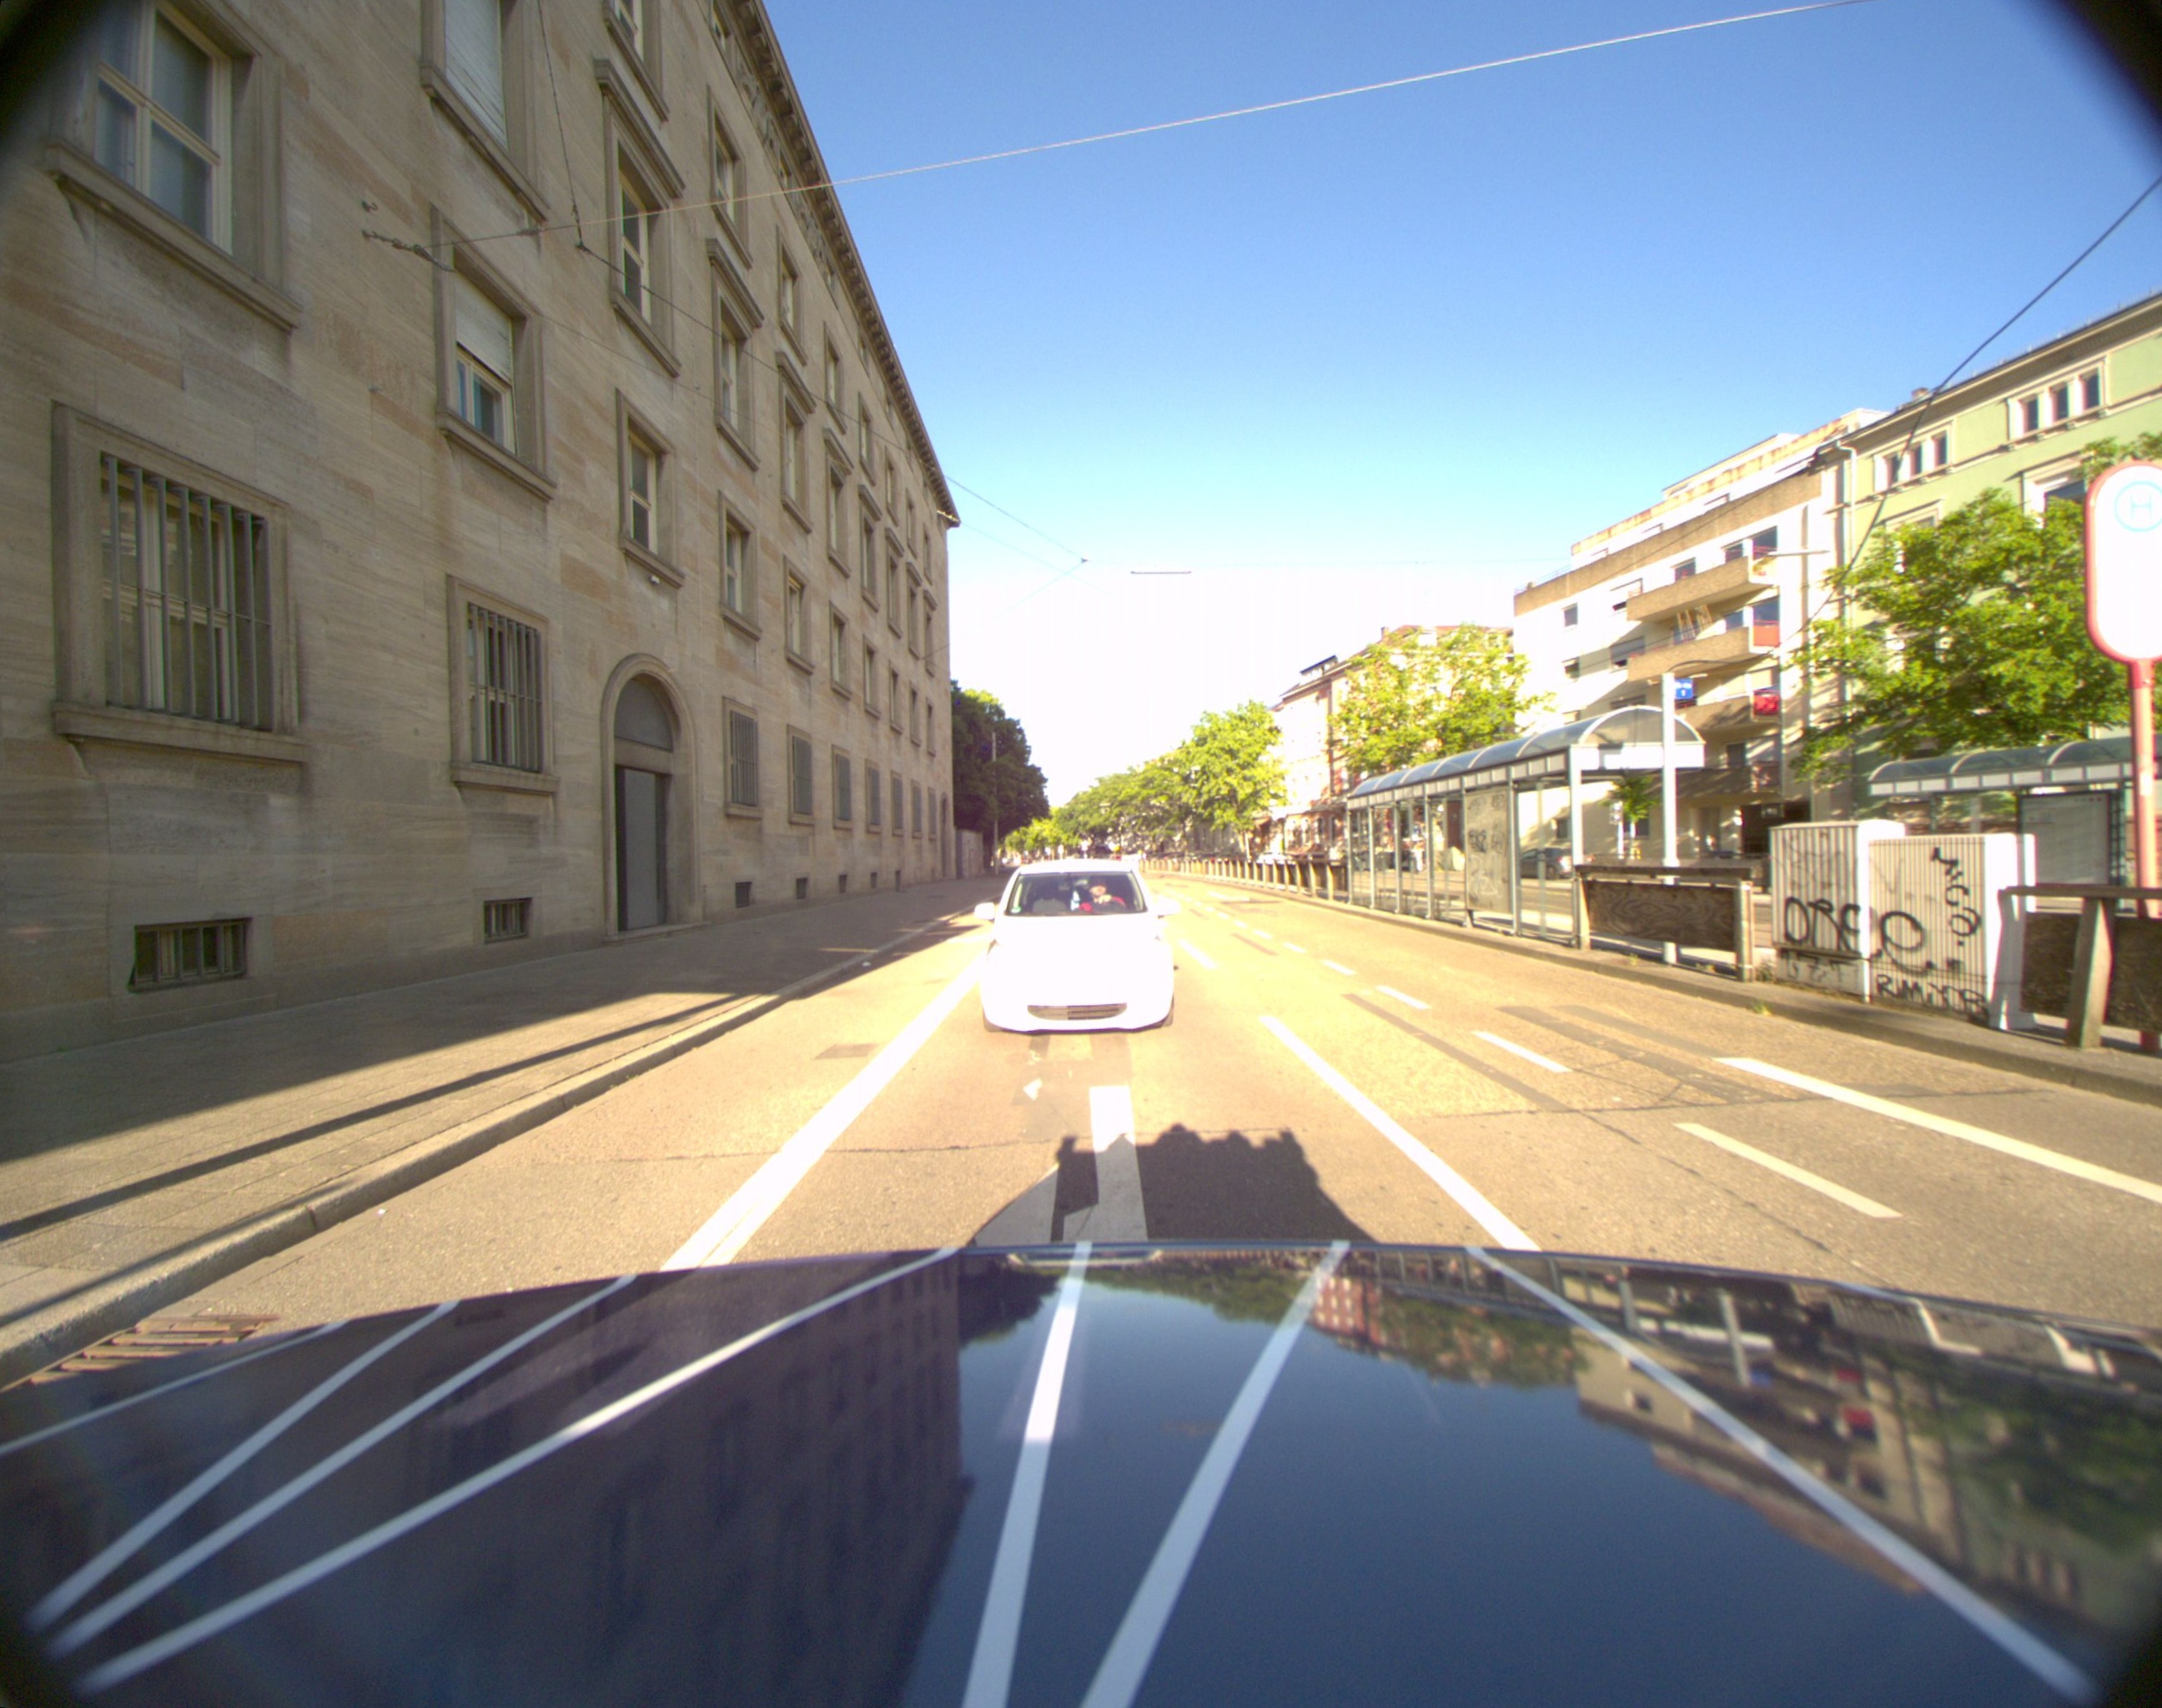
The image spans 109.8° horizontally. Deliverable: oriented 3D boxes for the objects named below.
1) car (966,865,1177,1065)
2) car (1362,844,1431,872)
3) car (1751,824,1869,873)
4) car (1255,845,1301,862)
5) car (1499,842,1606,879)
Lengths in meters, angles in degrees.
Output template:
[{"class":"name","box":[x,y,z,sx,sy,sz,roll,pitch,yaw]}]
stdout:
[{"class":"car","box":[-0.050,0.896,7.751,1.606,1.455,3.621,-1,0,1]},{"class":"car","box":[18.508,0.207,44.776,2.000,1.521,3.997,-1,0,-8]},{"class":"car","box":[31.642,-0.241,33.006,4.001,2.002,1.798,-1,1,-13]},{"class":"car","box":[16.408,-0.038,63.192,3.648,1.342,1.578,-2,1,-29]},{"class":"car","box":[21.040,0.276,34.117,2.000,1.521,3.997,-1,0,-8]}]
